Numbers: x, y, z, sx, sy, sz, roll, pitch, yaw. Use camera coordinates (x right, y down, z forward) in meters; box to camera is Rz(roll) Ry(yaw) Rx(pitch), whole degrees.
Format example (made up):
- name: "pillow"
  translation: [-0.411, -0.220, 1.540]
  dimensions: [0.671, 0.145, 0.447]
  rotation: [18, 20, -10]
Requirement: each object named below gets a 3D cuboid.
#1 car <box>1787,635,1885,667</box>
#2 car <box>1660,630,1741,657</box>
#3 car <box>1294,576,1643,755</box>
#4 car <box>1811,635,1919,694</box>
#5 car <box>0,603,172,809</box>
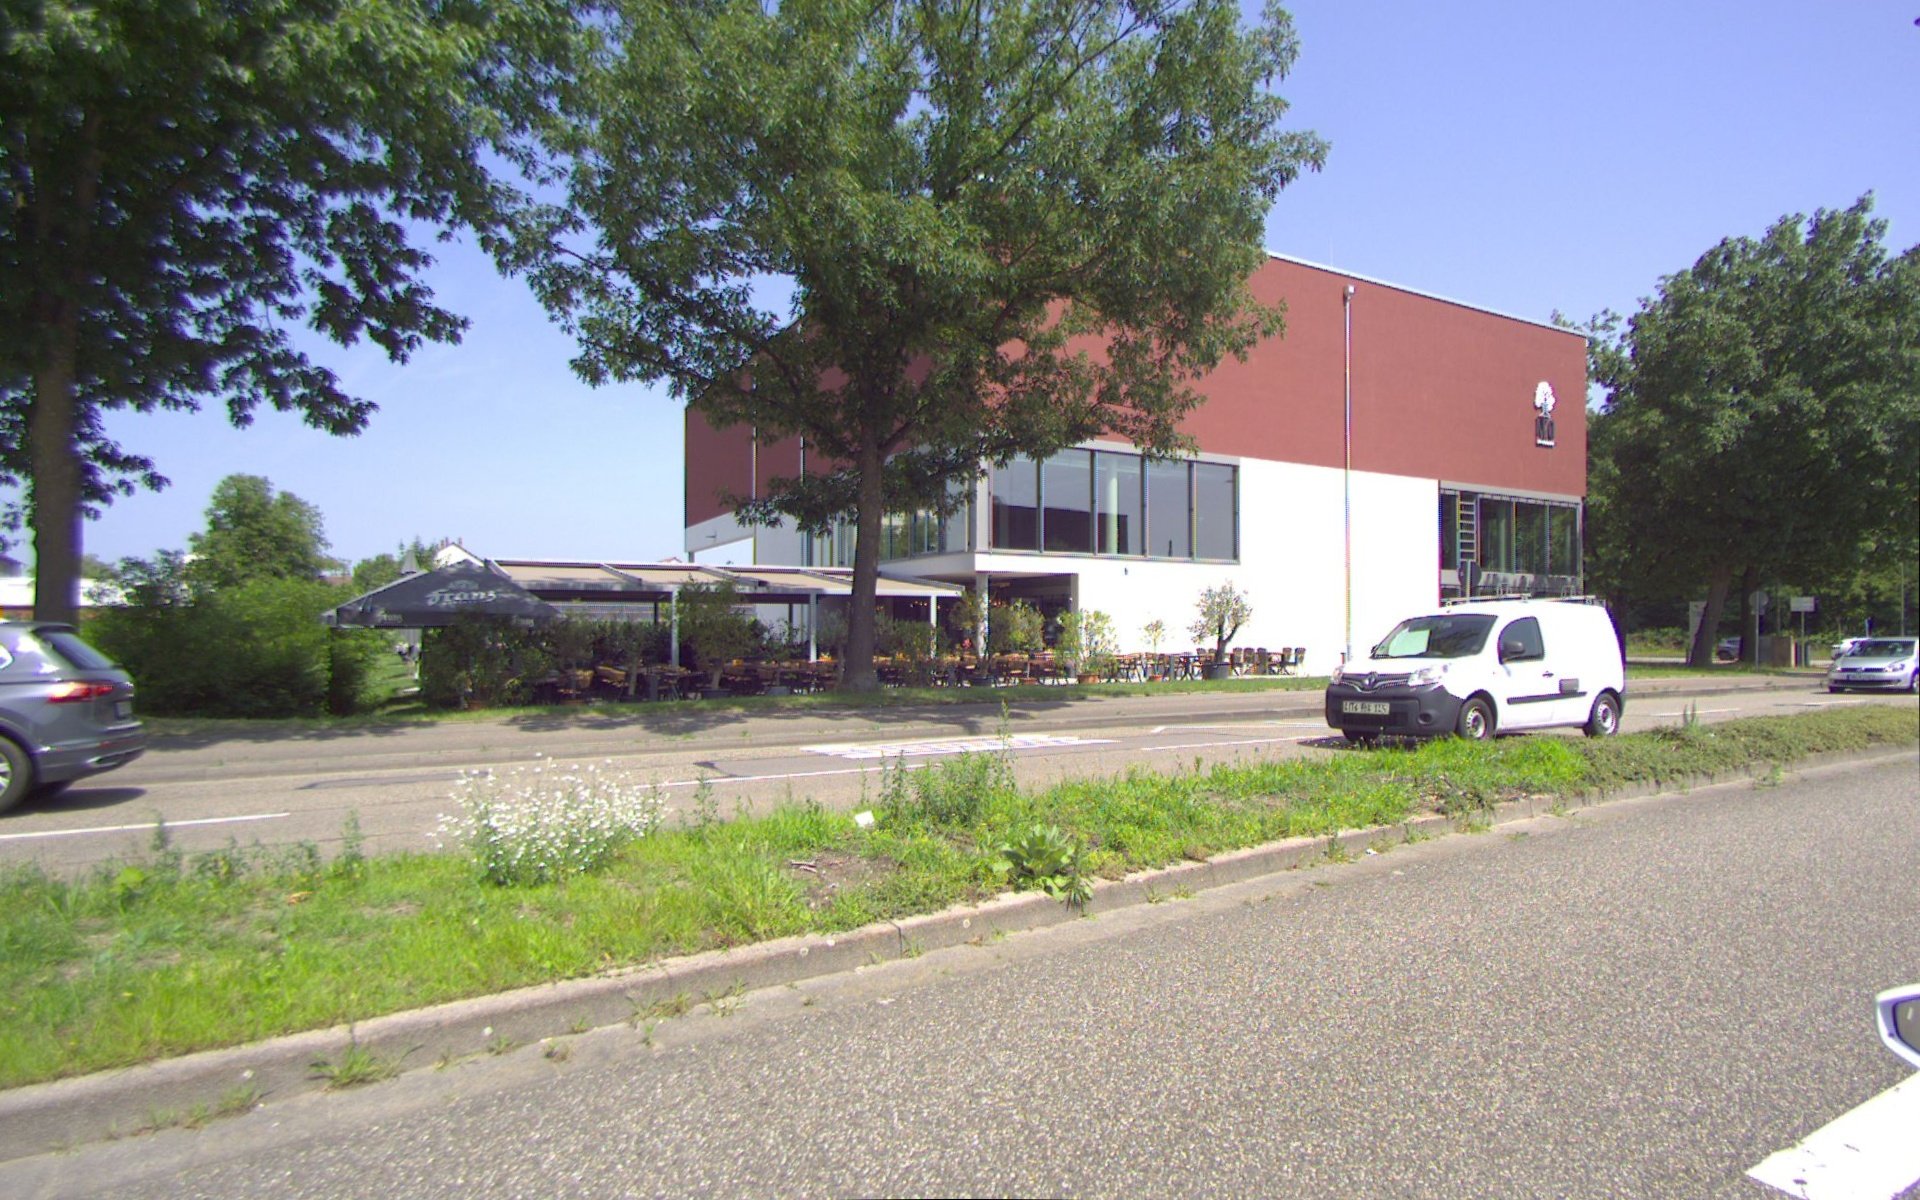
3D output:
- name: "car"
  translation: [54.827, 3.169, 62.935]
  dimensions: [1.793, 1.704, 4.340]
  rotation: [2, 0, -36]
- name: "car"
  translation: [53.295, 3.119, 72.337]
  dimensions: [1.795, 1.704, 4.335]
  rotation: [2, 0, -39]
- name: "car"
  translation: [6.527, 0.799, 12.811]
  dimensions: [4.374, 1.930, 1.844]
  rotation: [1, -4, -30]
- name: "car"
  translation: [24.598, 1.684, 26.668]
  dimensions: [4.083, 1.470, 1.742]
  rotation: [1, -4, -30]
- name: "car"
  translation: [-9.129, 0.870, 8.048]
  dimensions: [4.162, 1.624, 1.709]
  rotation: [1, -4, -30]
